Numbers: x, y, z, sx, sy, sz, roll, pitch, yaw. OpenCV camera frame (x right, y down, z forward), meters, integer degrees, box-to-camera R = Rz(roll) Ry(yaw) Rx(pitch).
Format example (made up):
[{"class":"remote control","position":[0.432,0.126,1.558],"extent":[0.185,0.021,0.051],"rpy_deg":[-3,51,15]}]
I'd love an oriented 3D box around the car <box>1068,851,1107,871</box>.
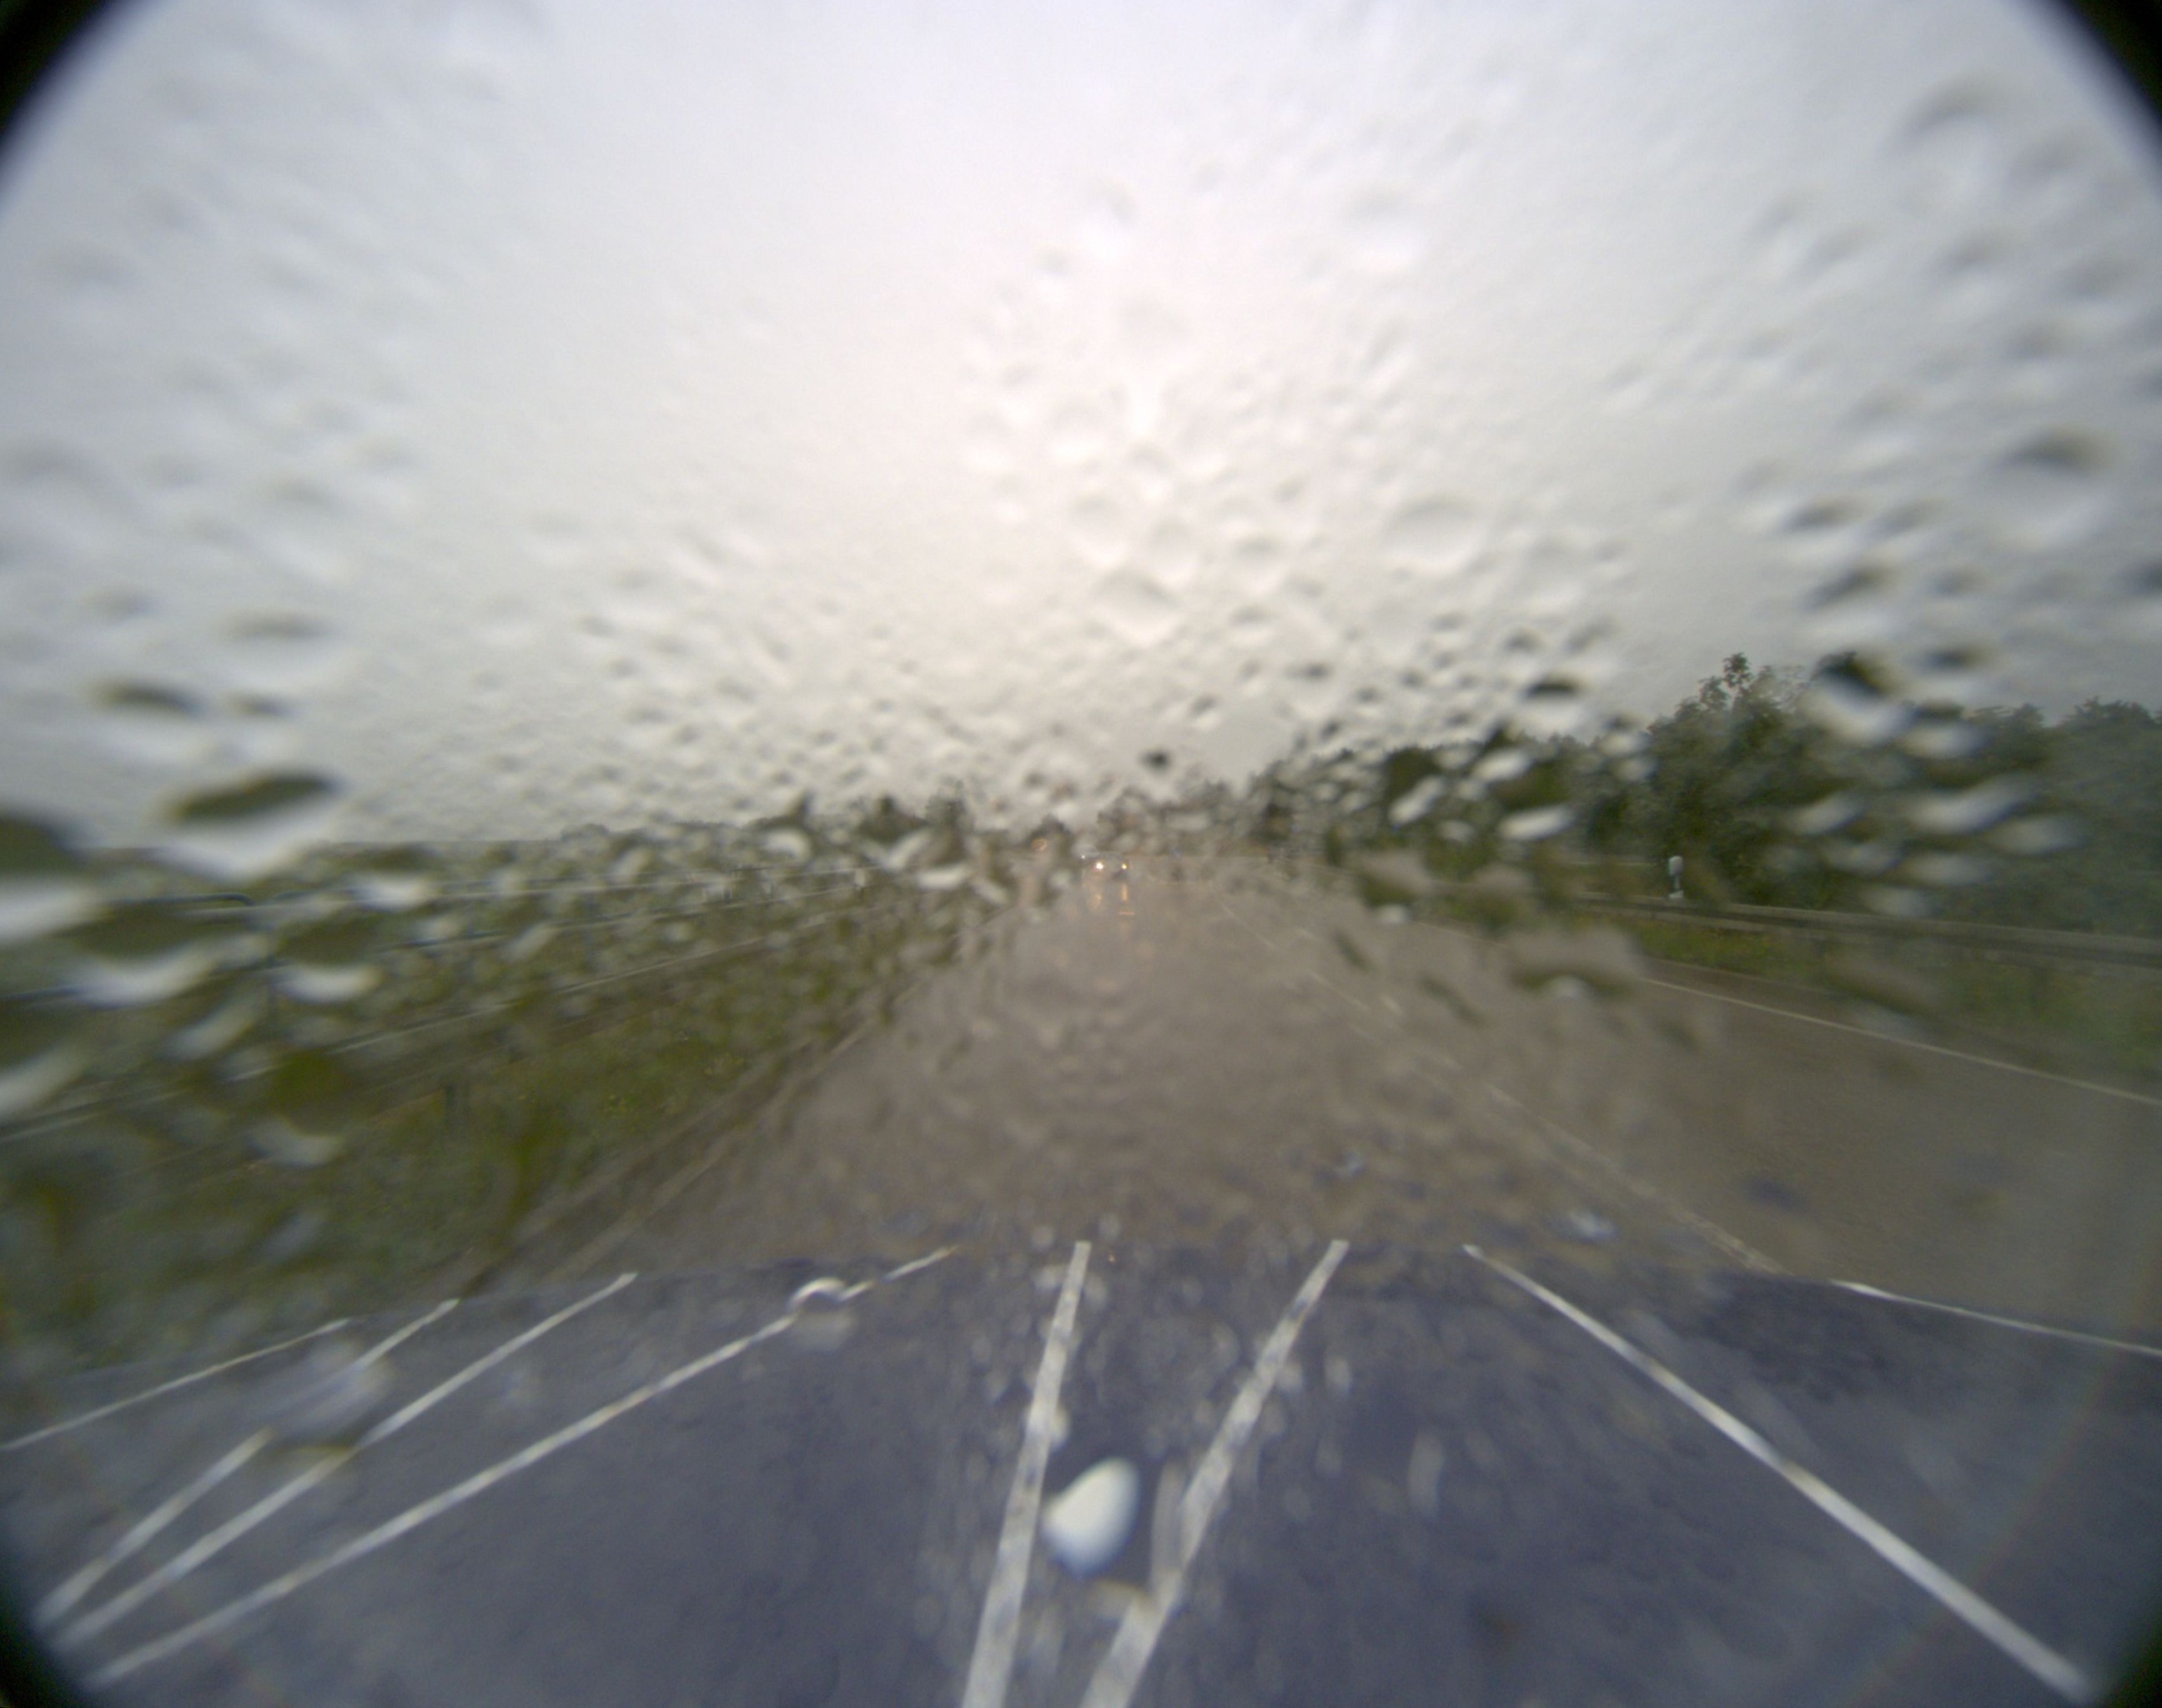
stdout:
[{"class":"car","position":[0.446,0.514,57.625],"extent":[1.765,1.412,4.497],"rpy_deg":[0,0,-16]}]

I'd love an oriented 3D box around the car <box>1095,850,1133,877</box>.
[{"class":"car","position":[1.885,0.496,42.323],"extent":[1.948,1.363,4.505],"rpy_deg":[1,0,5]}]

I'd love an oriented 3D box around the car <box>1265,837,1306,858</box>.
[{"class":"car","position":[17.028,-0.568,63.092],"extent":[1.801,1.566,4.007],"rpy_deg":[1,3,39]}]
